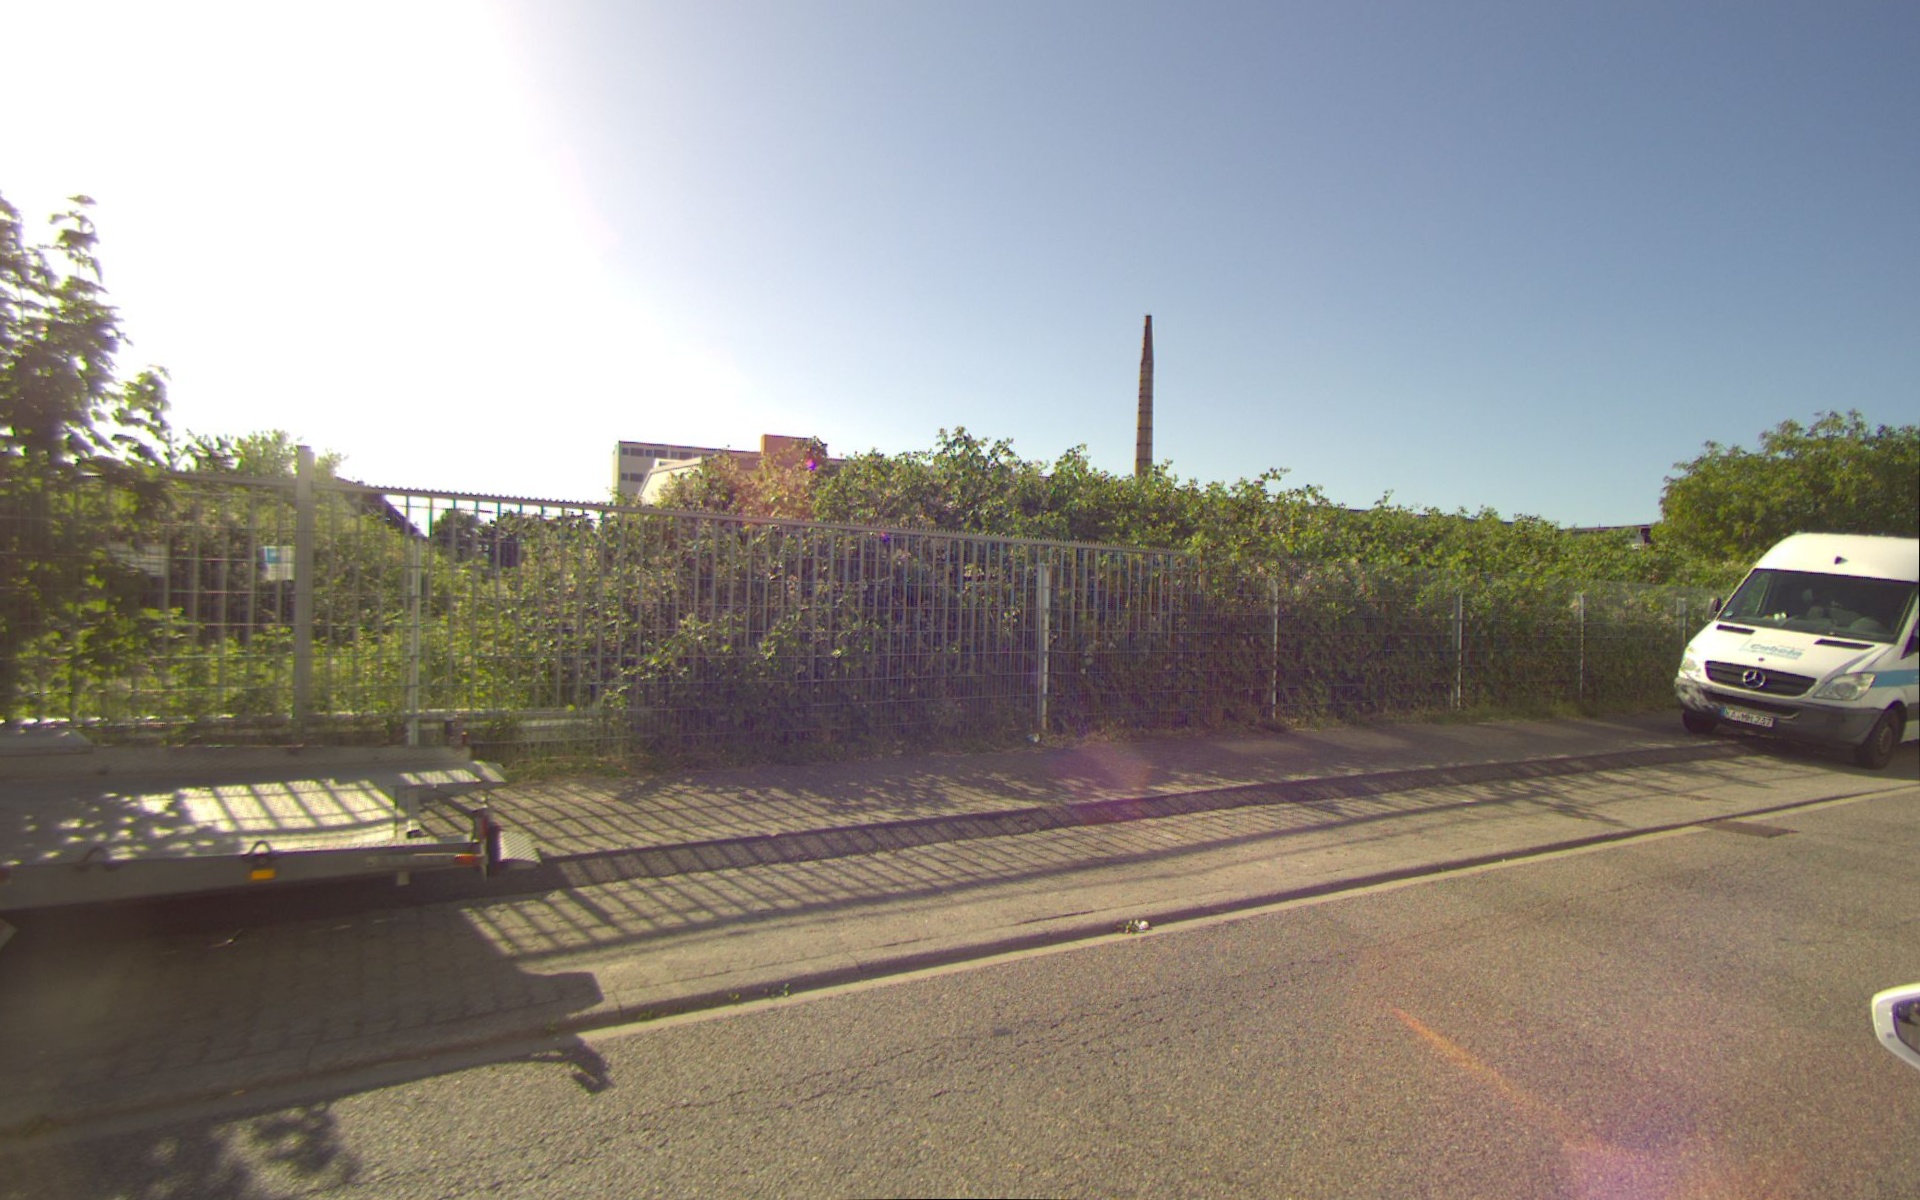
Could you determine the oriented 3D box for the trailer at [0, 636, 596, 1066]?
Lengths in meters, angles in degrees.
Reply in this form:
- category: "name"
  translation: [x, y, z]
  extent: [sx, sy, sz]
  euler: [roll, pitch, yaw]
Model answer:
- category: "trailer"
  translation: [-4.717, 0.822, 3.506]
  extent: [6.173, 1.094, 2.363]
  euler: [1, 4, -31]
